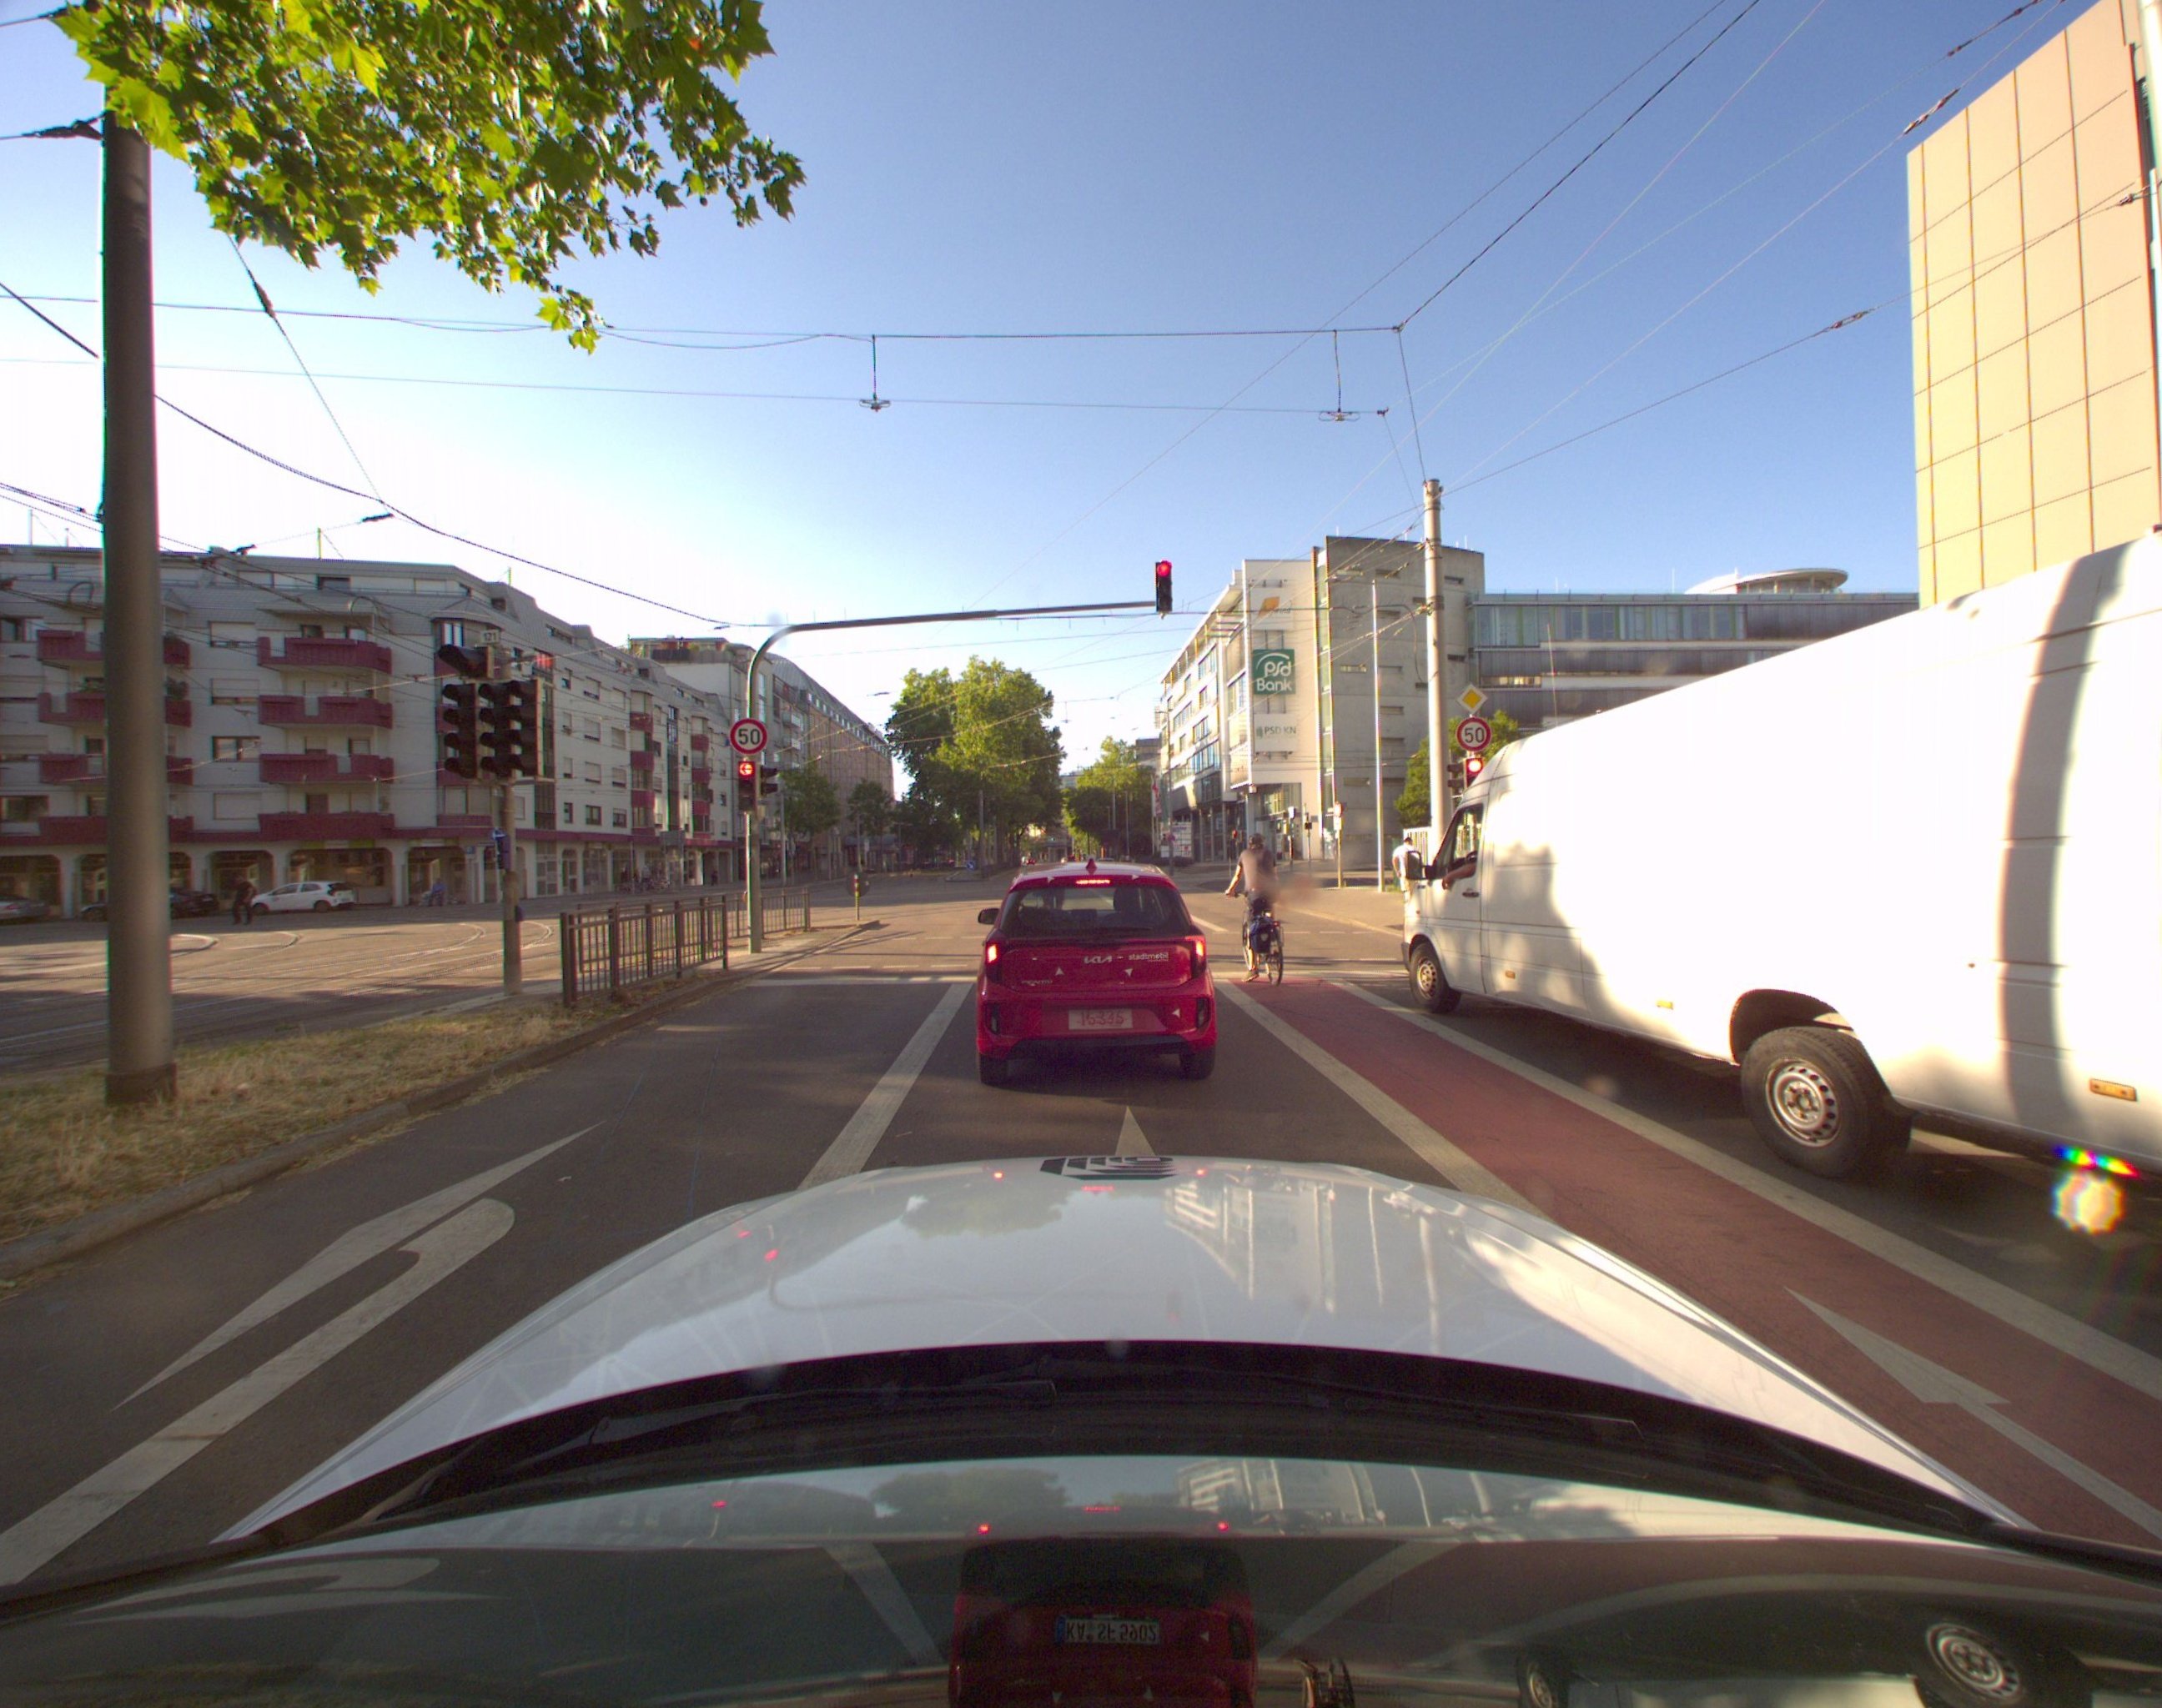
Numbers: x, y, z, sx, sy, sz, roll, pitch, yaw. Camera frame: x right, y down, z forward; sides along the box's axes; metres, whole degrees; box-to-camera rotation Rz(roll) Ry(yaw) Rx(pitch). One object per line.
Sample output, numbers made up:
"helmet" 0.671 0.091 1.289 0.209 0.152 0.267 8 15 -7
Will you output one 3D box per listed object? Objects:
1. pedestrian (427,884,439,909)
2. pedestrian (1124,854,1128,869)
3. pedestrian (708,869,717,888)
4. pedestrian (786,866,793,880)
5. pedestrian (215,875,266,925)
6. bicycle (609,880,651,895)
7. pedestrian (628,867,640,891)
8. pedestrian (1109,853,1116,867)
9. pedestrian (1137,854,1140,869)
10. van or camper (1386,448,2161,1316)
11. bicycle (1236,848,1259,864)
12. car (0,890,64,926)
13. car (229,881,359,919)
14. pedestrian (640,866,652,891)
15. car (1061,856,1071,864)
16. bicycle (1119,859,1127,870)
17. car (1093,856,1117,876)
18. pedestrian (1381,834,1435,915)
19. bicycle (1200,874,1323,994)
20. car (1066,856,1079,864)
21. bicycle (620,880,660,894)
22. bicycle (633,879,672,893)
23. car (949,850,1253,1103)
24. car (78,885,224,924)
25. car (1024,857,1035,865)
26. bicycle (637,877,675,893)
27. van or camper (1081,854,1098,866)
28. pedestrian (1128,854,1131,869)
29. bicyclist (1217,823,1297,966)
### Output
"pedestrian" -32.438 2.111 40.747 0.303 1.214 0.318 -2 0 -8
"pedestrian" 4.631 0.782 83.670 0.293 1.562 0.302 -2 0 2
"pedestrian" -29.971 1.980 66.242 0.510 1.459 0.526 -2 0 -12
"pedestrian" -31.965 2.071 89.367 0.509 1.459 0.527 -2 0 -5
"pedestrian" -29.295 1.592 28.409 0.708 1.662 1.031 -2 0 -8
"bicycle" -28.094 2.085 50.709 2.167 0.787 0.639 -2 0 -7
"pedestrian" -31.253 1.750 56.915 0.509 1.699 0.527 -2 0 -5
"pedestrian" 3.935 0.700 101.692 0.740 1.716 0.748 -2 0 0
"pedestrian" 5.933 0.763 84.070 0.293 1.562 0.314 -2 0 3
"van or camper" 4.438 0.096 5.398 2.263 2.733 6.341 1 0 -2
"bicycle" 15.257 0.206 74.790 1.931 1.443 0.574 -2 0 -5
"car" -48.459 2.472 35.913 4.263 1.464 1.793 -3 0 -14
"car" -37.226 2.144 38.636 3.994 1.464 1.792 -3 0 -15
"pedestrian" -30.561 1.715 57.205 0.509 1.699 0.527 -2 0 -5
"car" -3.435 1.353 182.864 1.882 1.528 4.422 -3 0 -6
"bicycle" 4.730 1.152 91.699 0.789 1.161 2.503 -2 0 5
"car" 1.985 0.958 66.762 1.836 1.568 4.275 -2 0 2
"pedestrian" 7.409 0.456 18.495 0.787 1.748 0.769 -2 0 -13
"bicycle" 2.116 0.889 9.900 0.743 1.224 2.149 0 0 -9
"car" -1.778 1.168 166.992 2.474 1.528 4.424 -3 0 -5
"bicycle" -27.879 2.086 51.485 2.167 0.787 0.491 -2 0 -7
"bicycle" -27.811 2.076 52.848 2.167 0.824 0.526 -2 0 -7
"car" 0.049 0.748 6.887 1.835 1.489 3.712 -2 0 -3
"car" -42.399 2.263 37.234 3.995 1.464 1.792 -3 0 -16
"car" -11.223 1.509 175.845 2.056 1.654 3.482 -2 0 -8
"bicycle" -27.891 2.018 53.487 2.167 0.951 0.491 -2 0 -7
"van or camper" 1.387 0.991 132.279 2.143 1.750 4.422 -3 0 -6
"pedestrian" 4.990 0.779 83.884 0.293 1.562 0.356 -2 0 -1
"bicyclist" 2.120 0.468 9.905 0.743 1.669 0.742 0 0 -9
